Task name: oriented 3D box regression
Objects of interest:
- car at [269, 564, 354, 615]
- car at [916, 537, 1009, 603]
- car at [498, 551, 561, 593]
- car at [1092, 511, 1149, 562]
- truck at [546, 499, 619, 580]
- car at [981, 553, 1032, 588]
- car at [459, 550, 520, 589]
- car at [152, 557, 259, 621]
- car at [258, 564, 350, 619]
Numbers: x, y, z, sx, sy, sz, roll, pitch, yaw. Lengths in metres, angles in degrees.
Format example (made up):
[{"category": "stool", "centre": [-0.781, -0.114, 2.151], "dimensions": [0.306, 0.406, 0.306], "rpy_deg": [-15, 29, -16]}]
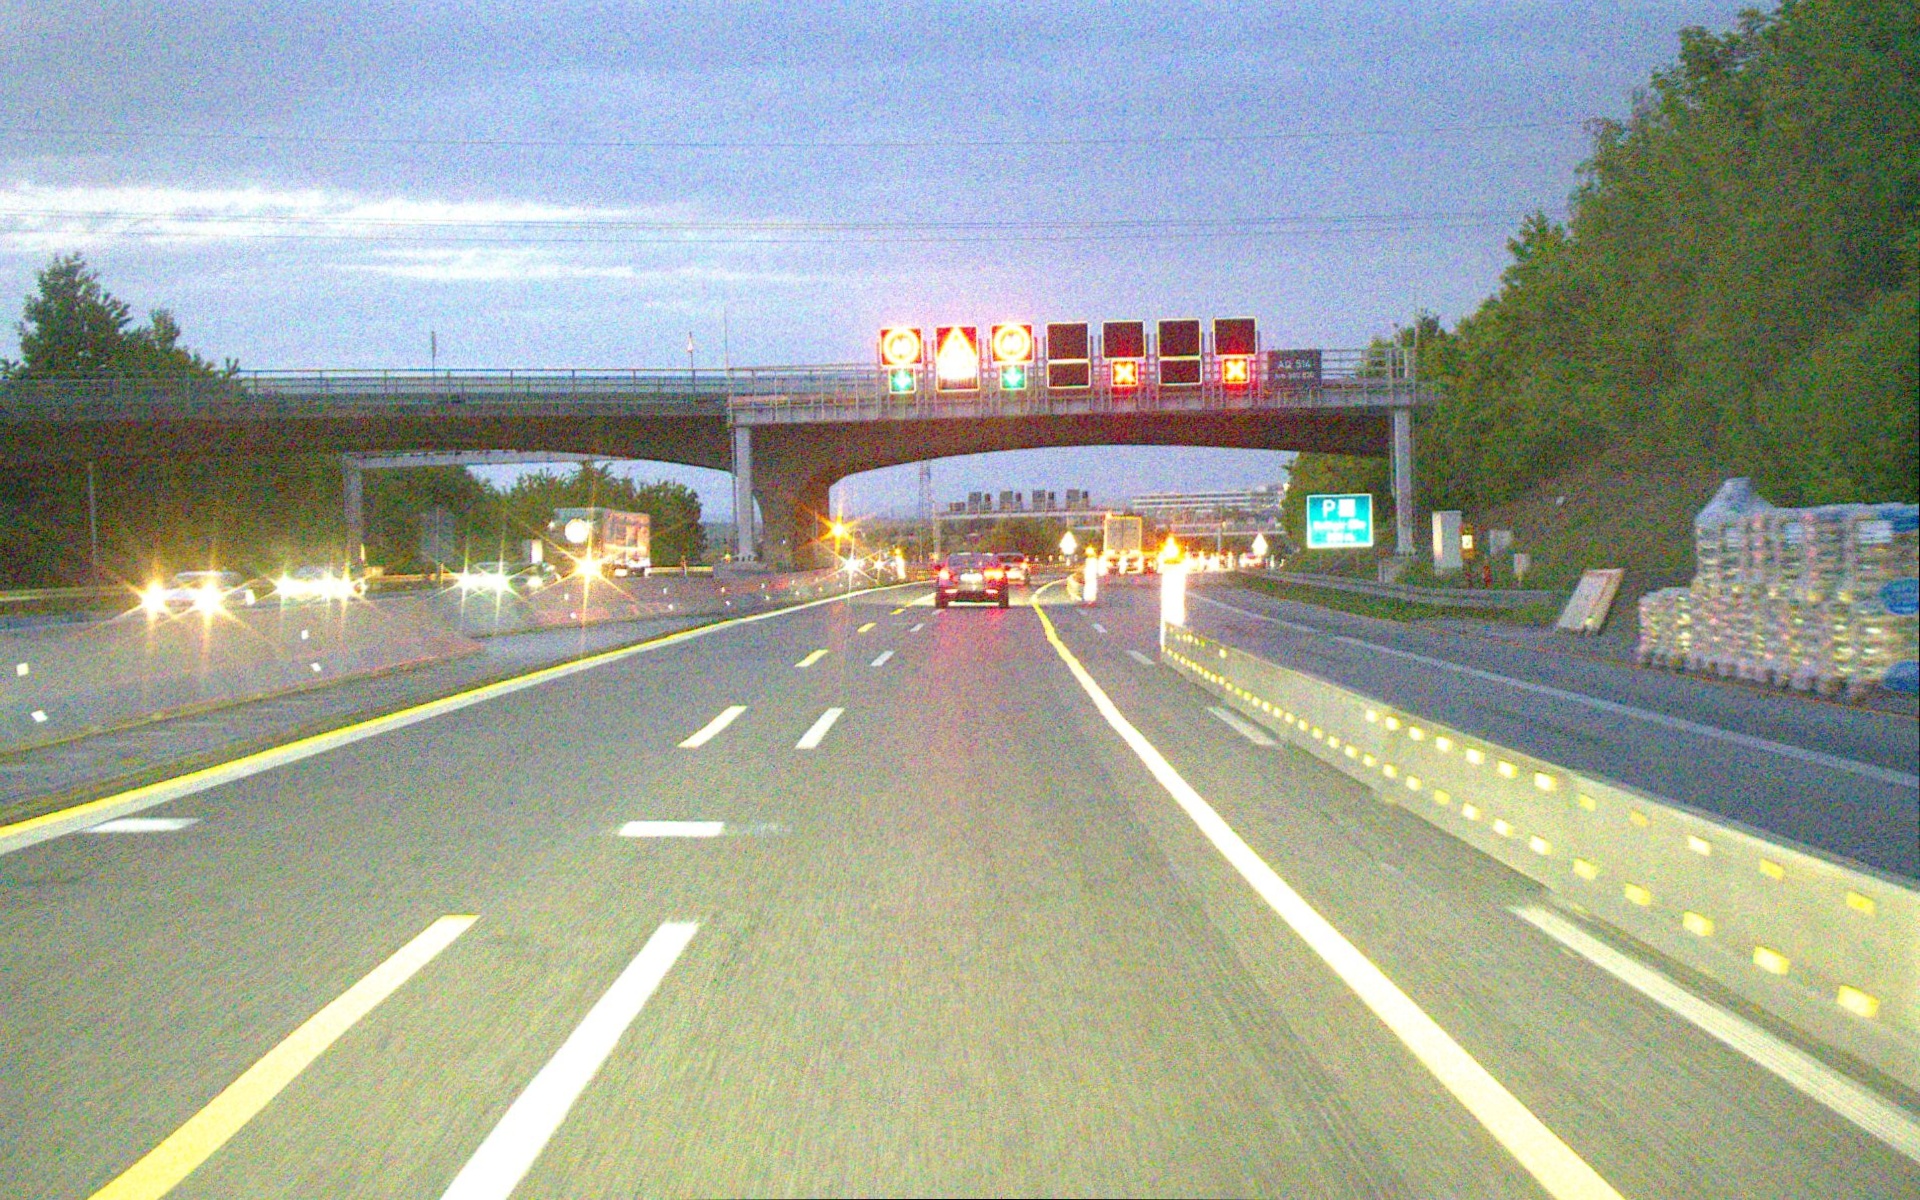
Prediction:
[{"category": "car", "centre": [-21.880, -0.365, 116.142], "dimensions": [1.736, 1.632, 5.170], "rpy_deg": [1, 1, 2]}, {"category": "car", "centre": [0.032, -0.781, 88.401], "dimensions": [2.265, 1.616, 4.000], "rpy_deg": [1, 1, -1]}, {"category": "car", "centre": [-17.229, -1.134, 137.711], "dimensions": [1.736, 1.632, 4.891], "rpy_deg": [1, 1, 2]}, {"category": "car", "centre": [11.059, -4.329, 237.711], "dimensions": [3.605, 3.384, 8.014], "rpy_deg": [1, 1, 1]}, {"category": "truck", "centre": [-19.999, -3.179, 182.485], "dimensions": [2.777, 4.157, 6.385], "rpy_deg": [1, 1, 3]}, {"category": "car", "centre": [2.033, -1.279, 149.419], "dimensions": [1.972, 1.432, 3.999], "rpy_deg": [1, 1, 4]}, {"category": "car", "centre": [-19.747, -1.272, 144.499], "dimensions": [1.591, 1.598, 5.033], "rpy_deg": [1, 1, 3]}, {"category": "car", "centre": [-20.211, -0.309, 92.221], "dimensions": [1.679, 1.632, 4.751], "rpy_deg": [1, 1, 2]}, {"category": "car", "centre": [-20.276, -0.292, 106.424], "dimensions": [1.804, 1.632, 4.751], "rpy_deg": [1, 1, 2]}]
